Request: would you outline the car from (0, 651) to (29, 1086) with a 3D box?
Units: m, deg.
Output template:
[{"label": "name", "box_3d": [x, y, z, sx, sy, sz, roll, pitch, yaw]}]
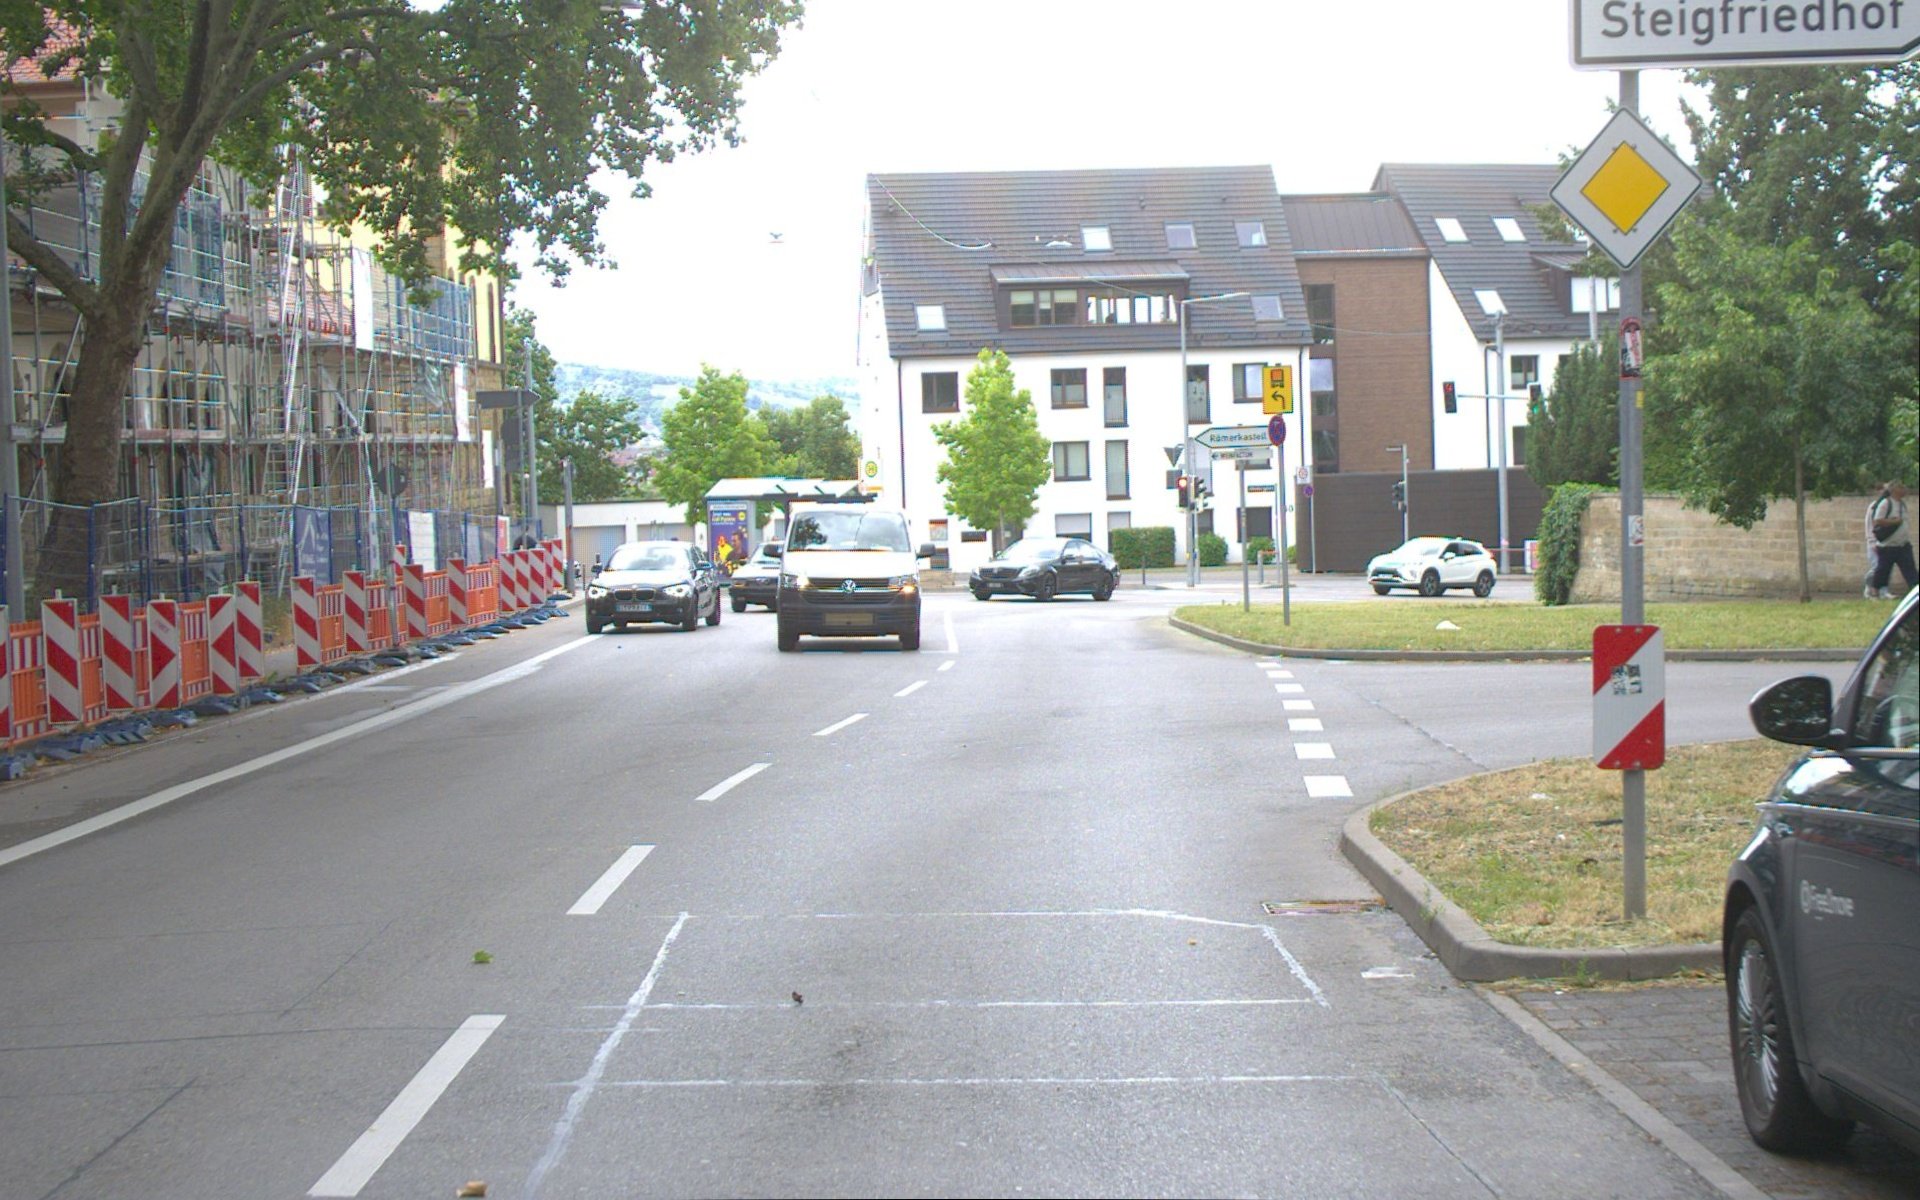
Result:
[{"label": "car", "box_3d": [-3.618, 0.767, 8.507, 1.583, 1.459, 3.652, -4, 1, -1]}]

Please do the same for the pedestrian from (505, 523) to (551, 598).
[{"label": "pedestrian", "box_3d": [-10.007, -0.910, 79.713, 0.923, 1.714, 0.798, 1, 0, 2]}]

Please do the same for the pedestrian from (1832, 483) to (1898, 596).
[{"label": "pedestrian", "box_3d": [12.923, -0.862, 49.085, 0.579, 1.579, 0.575, -5, 2, -29]}]

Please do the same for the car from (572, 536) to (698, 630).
[{"label": "car", "box_3d": [-5.240, -0.305, 55.845, 1.699, 1.421, 4.250, -1, 1, -1]}]

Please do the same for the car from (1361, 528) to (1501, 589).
[{"label": "car", "box_3d": [13.398, -1.189, 97.558, 1.795, 1.605, 4.498, 0, 2, 40]}]

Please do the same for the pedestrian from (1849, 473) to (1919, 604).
[{"label": "pedestrian", "box_3d": [12.442, -0.825, 46.137, 0.710, 1.728, 0.661, -2, 2, -33]}]

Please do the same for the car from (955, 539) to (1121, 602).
[{"label": "car", "box_3d": [1.879, -0.715, 81.665, 1.703, 1.421, 4.240, 0, 1, 39]}]

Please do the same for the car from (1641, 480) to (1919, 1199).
[{"label": "car", "box_3d": [2.625, 0.534, 7.254, 1.565, 1.604, 3.654, -2, 1, -1]}]

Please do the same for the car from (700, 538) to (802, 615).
[{"label": "car", "box_3d": [-4.116, -0.492, 68.367, 1.801, 1.453, 4.636, -1, 1, -1]}]

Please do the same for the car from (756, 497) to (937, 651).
[{"label": "car", "box_3d": [-1.465, -0.386, 46.518, 2.205, 1.924, 5.240, -1, 1, 1]}]
